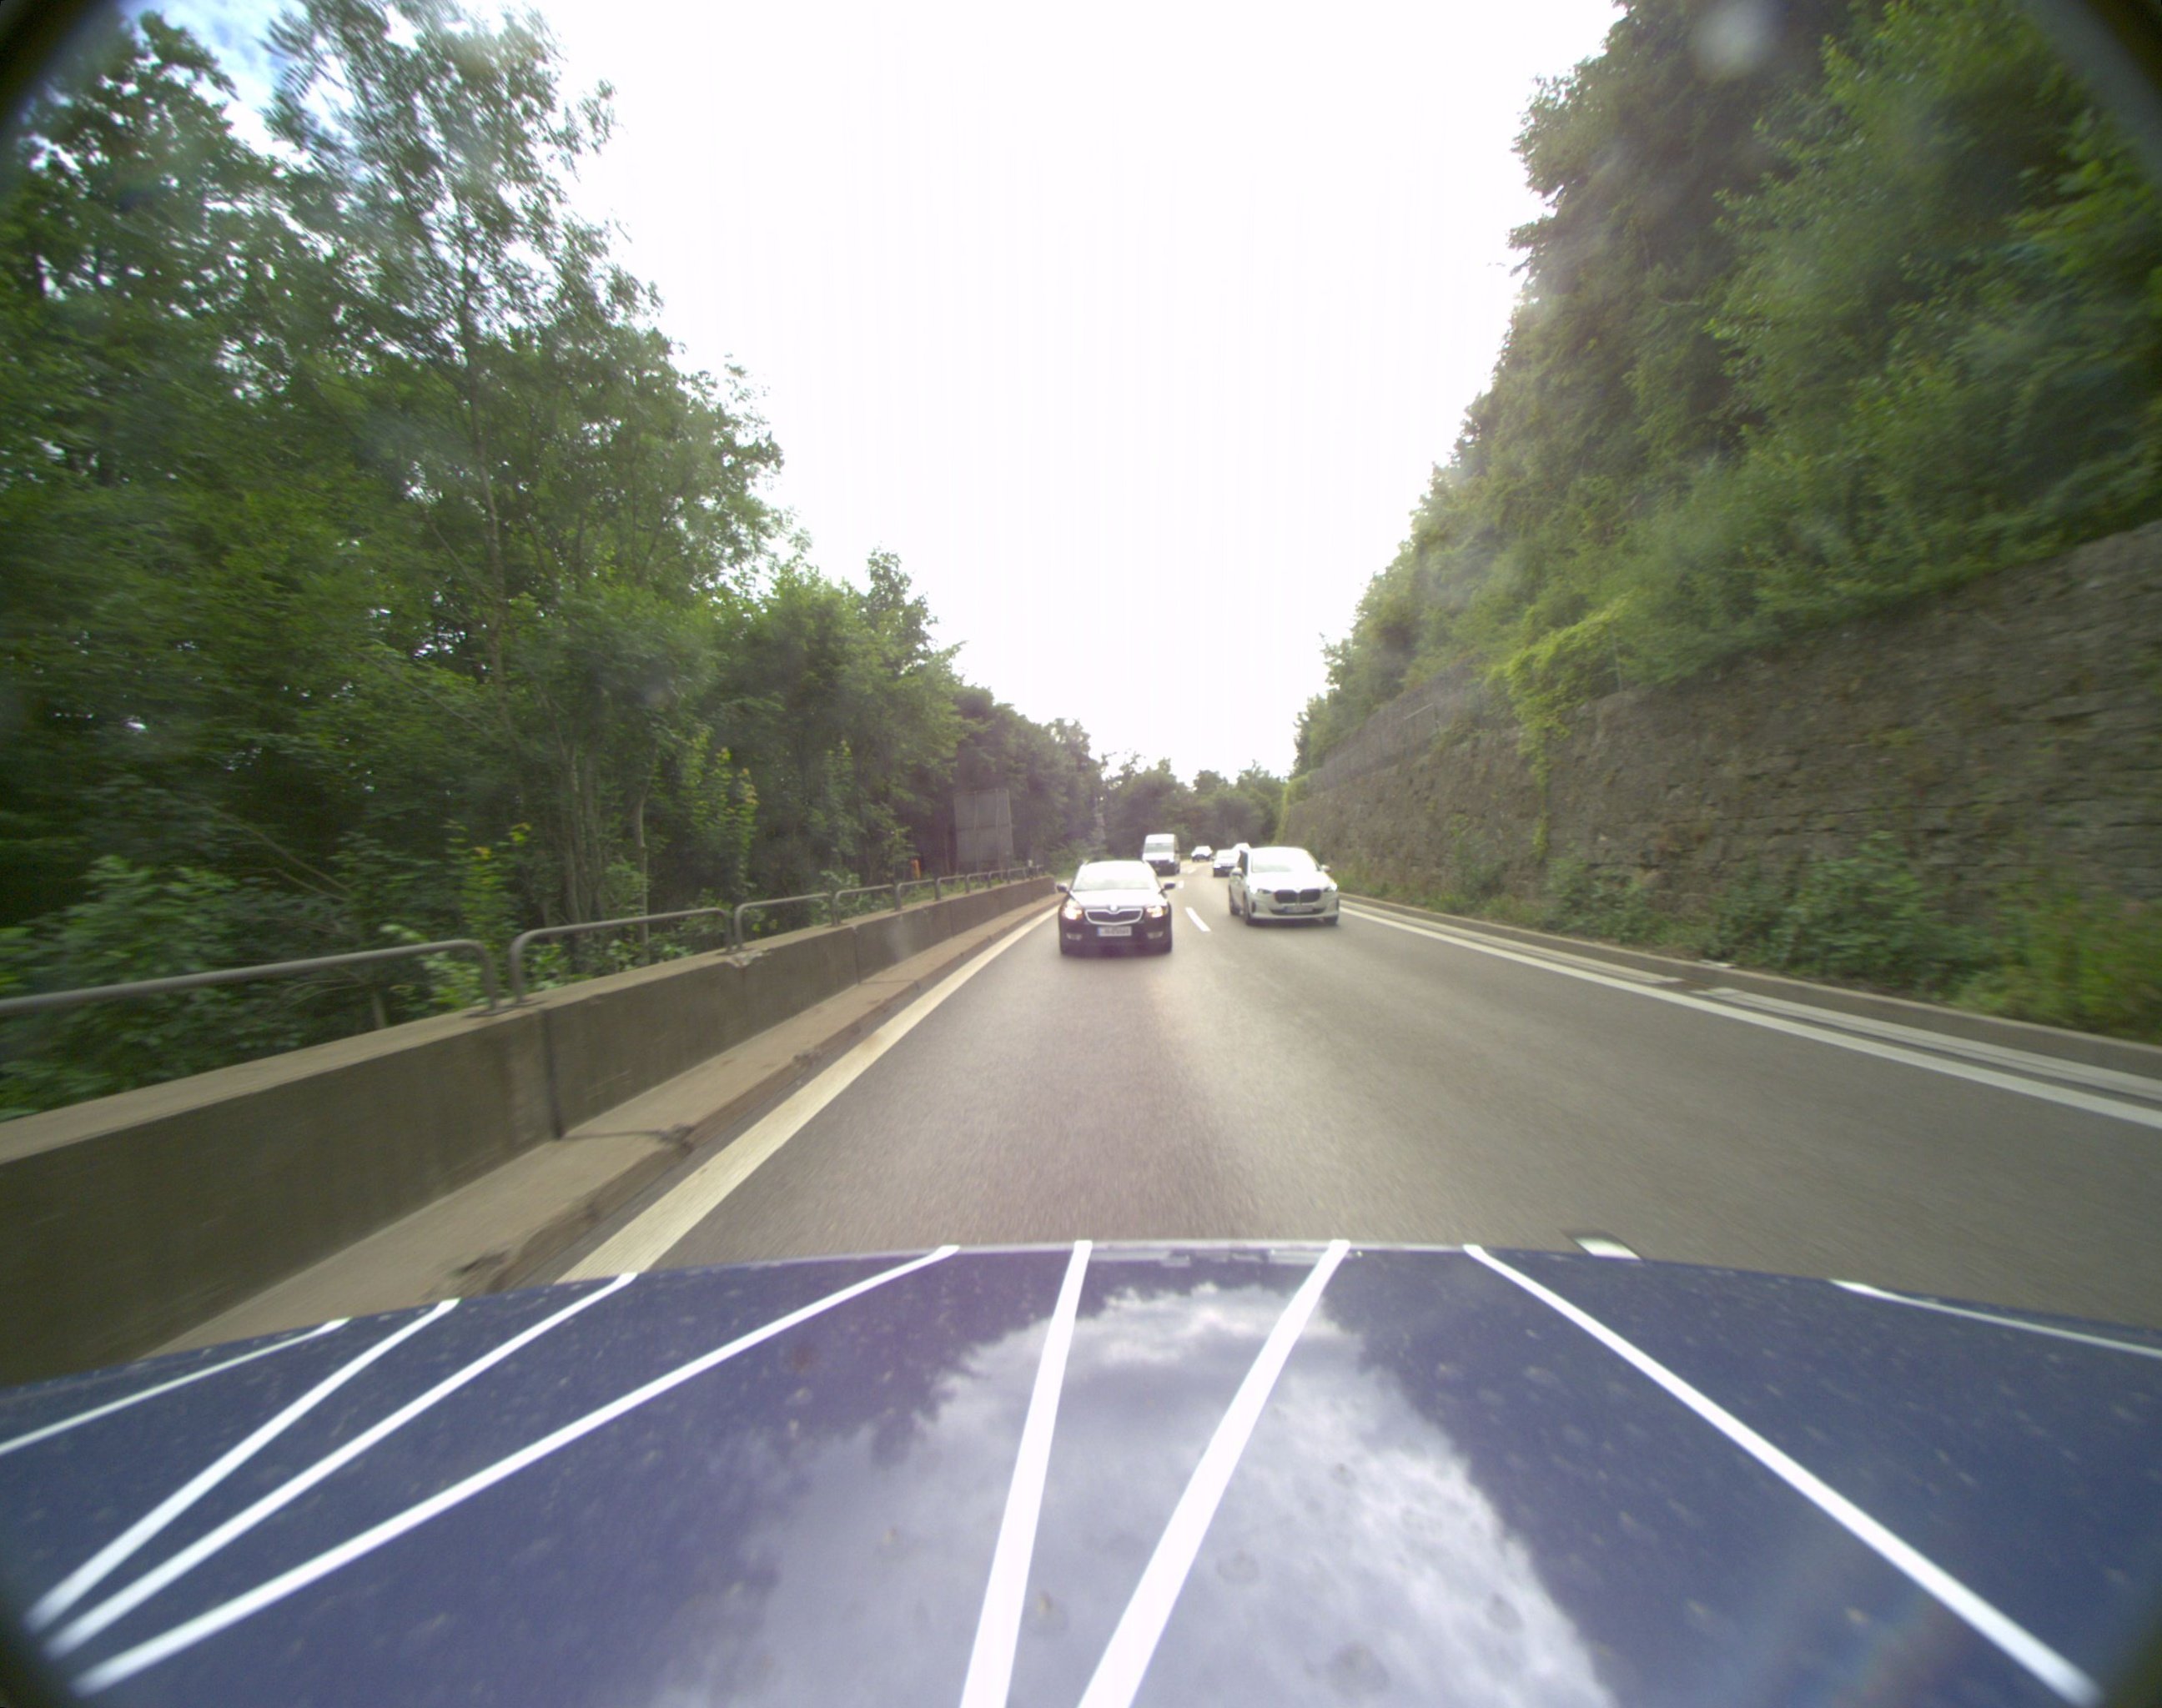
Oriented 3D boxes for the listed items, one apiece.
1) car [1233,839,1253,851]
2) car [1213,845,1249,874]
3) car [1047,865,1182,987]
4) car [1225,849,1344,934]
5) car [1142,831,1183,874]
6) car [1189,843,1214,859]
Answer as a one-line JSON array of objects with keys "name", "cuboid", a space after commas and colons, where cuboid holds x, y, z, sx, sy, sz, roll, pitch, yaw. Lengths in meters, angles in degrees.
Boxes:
[{"name": "car", "cuboid": [21.492, -1.236, 100.572, 1.820, 1.546, 4.006, -2, 1, 23]}, {"name": "car", "cuboid": [8.544, 0.282, 43.502, 1.822, 1.546, 4.002, -2, 0, 9]}, {"name": "car", "cuboid": [0.531, 0.928, 11.673, 1.638, 1.384, 4.499, -2, 0, 3]}, {"name": "car", "cuboid": [4.270, 0.713, 16.553, 1.822, 1.546, 4.001, -2, 0, 5]}, {"name": "car", "cuboid": [5.284, -0.117, 48.661, 2.097, 2.548, 5.923, -2, 1, 11]}, {"name": "car", "cuboid": [12.340, -0.291, 77.774, 1.821, 1.546, 4.005, -2, 1, 18]}]
